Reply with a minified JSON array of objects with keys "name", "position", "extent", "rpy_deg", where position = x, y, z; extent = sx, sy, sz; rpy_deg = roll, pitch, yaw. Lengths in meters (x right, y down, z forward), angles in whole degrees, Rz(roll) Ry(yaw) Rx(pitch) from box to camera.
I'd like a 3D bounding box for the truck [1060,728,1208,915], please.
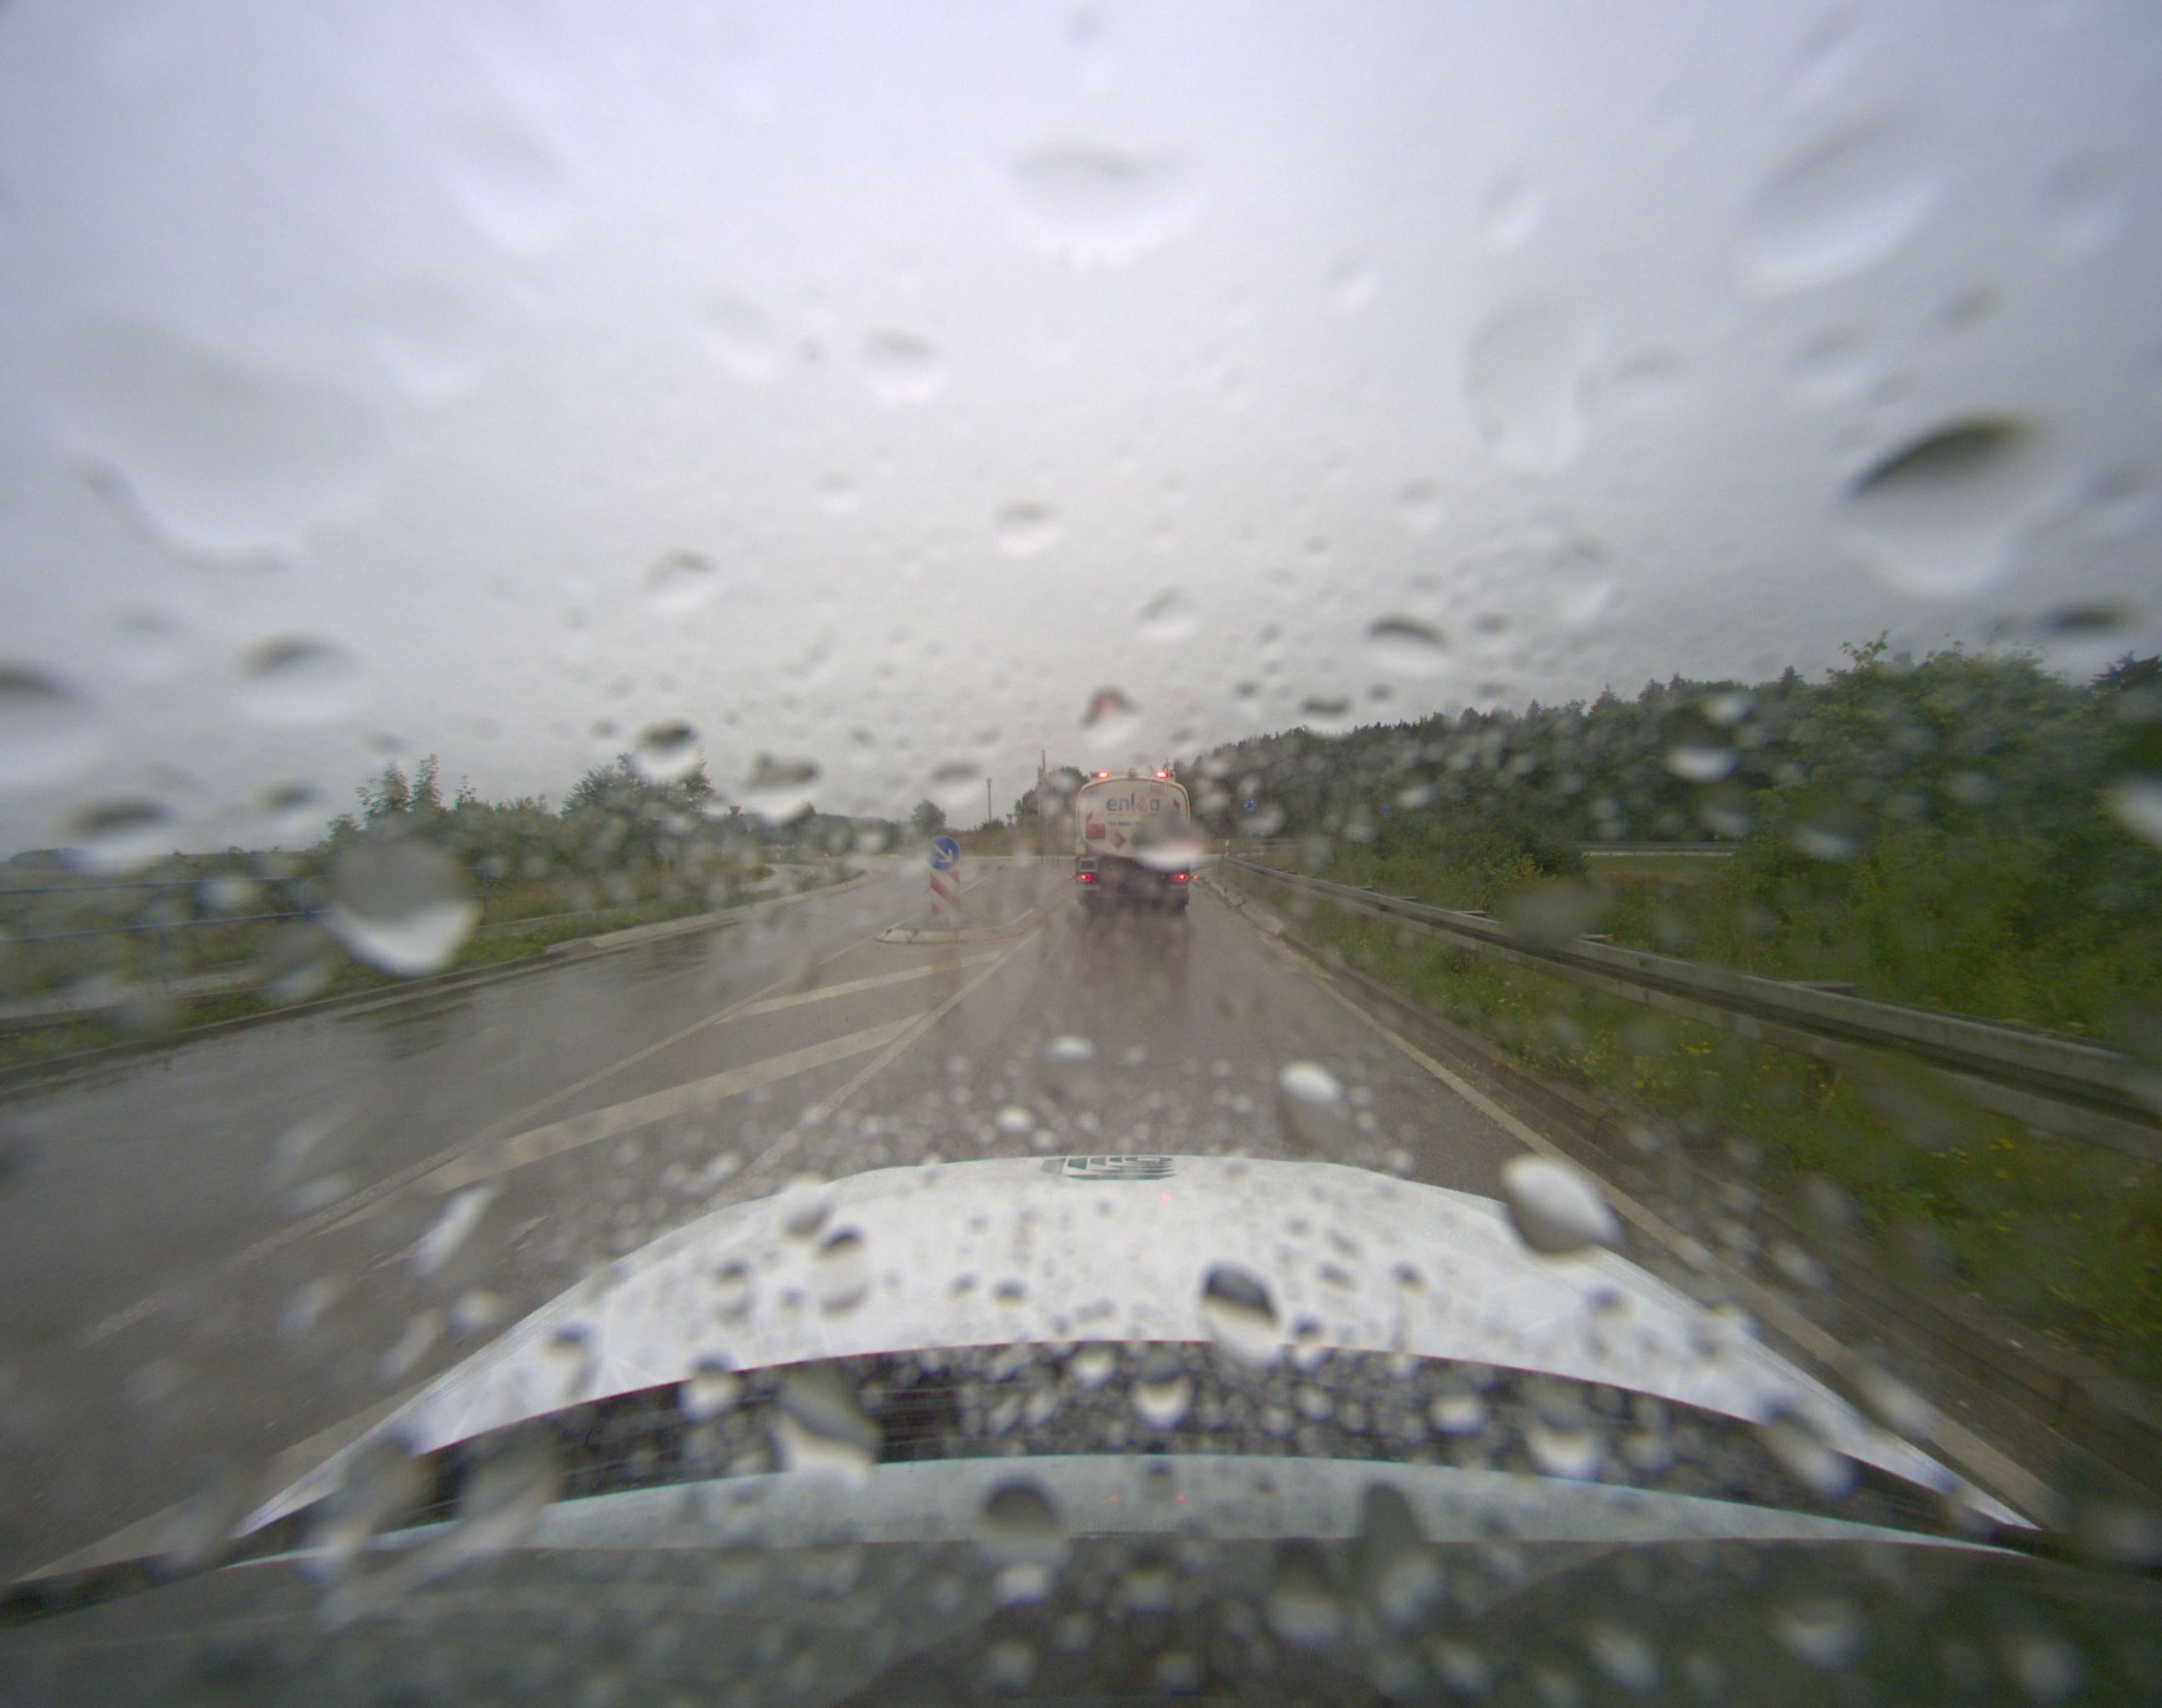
[{"name":"truck","position":[1.460,-0.750,21.353],"extent":[3.025,3.851,8.834],"rpy_deg":[-1,1,5]}]
